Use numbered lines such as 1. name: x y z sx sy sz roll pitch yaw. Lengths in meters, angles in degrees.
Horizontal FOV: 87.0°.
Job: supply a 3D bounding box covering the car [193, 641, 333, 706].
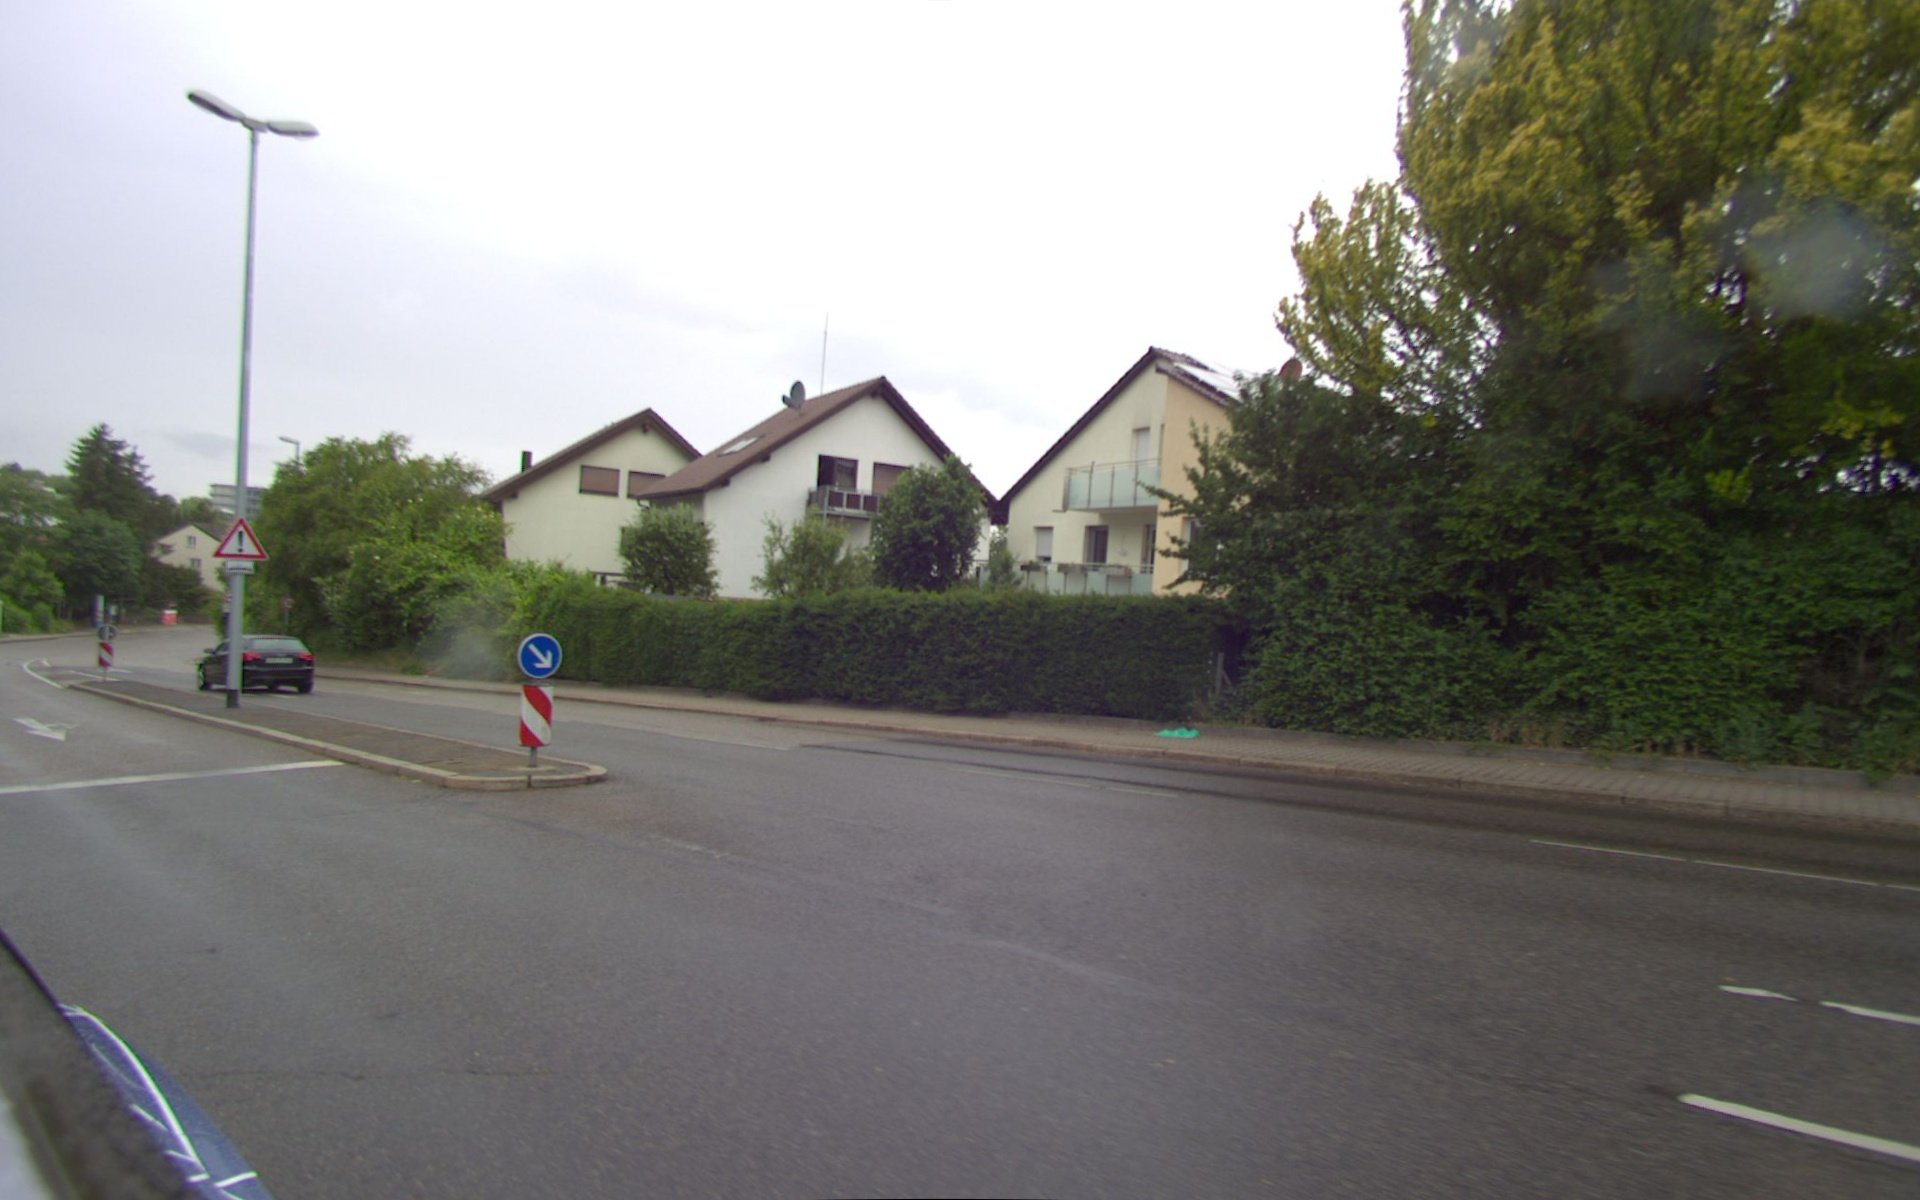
1. car: -17.428 1.787 25.248 3.829 1.504 1.844 -2 -4 39
